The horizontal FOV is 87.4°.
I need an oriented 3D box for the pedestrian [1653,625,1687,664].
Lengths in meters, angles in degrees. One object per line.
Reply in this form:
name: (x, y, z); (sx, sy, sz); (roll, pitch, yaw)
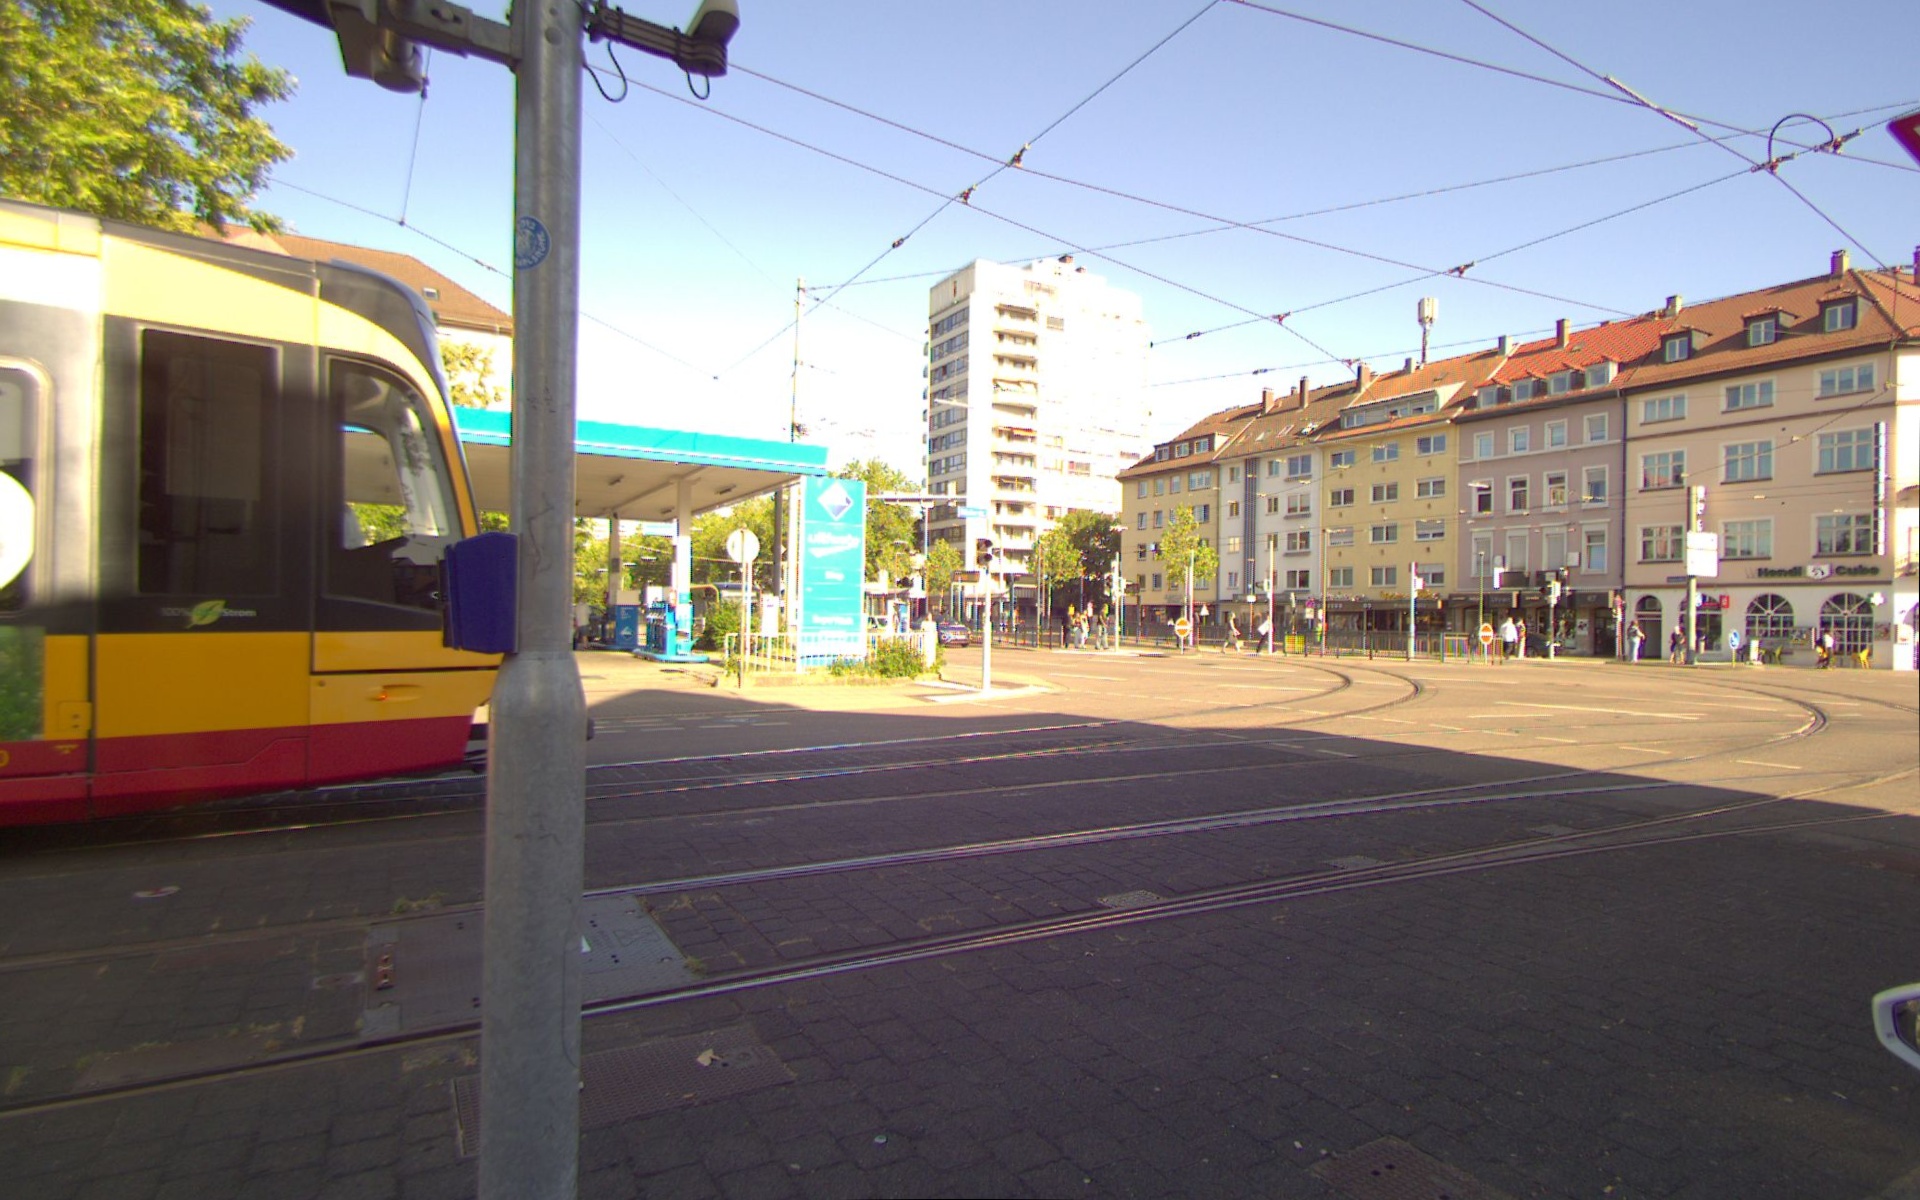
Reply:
pedestrian: (34.073, 2.123, 48.206); (0.926, 1.798, 1.006); (1, -1, -15)

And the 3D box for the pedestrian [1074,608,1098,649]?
pedestrian: (5.590, 1.270, 44.546); (0.673, 1.794, 0.782); (1, -1, -37)

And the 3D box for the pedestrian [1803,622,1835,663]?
pedestrian: (37.426, 1.836, 43.748); (1.034, 1.767, 0.804); (0, -1, 42)

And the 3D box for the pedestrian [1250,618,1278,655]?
pedestrian: (12.501, 1.495, 41.306); (0.912, 1.473, 0.825); (1, -1, 3)

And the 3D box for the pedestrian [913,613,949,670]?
pedestrian: (-0.868, 1.206, 29.708); (0.705, 1.641, 1.101); (1, -1, -21)

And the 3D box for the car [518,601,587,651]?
car: (-13.447, 0.836, 33.014); (1.725, 1.431, 4.061); (5, -2, -26)

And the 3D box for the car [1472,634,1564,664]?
car: (30.430, 2.632, 54.909); (1.977, 1.472, 3.966); (1, -1, -31)

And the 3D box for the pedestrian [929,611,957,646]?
pedestrian: (-0.942, 1.561, 54.903); (1.156, 1.870, 1.098); (2, -1, -28)

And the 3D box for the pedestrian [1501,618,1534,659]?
pedestrian: (24.473, 1.677, 44.102); (0.924, 1.779, 0.934); (1, -1, -30)

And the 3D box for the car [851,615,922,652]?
car: (-3.474, 1.524, 46.736); (1.863, 1.601, 3.971); (1, -1, -28)

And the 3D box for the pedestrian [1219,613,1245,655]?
pedestrian: (11.212, 1.394, 41.489); (0.932, 1.677, 0.828); (1, -1, 9)

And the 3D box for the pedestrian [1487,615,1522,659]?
pedestrian: (22.297, 1.523, 41.146); (0.924, 1.779, 0.934); (1, -1, -30)

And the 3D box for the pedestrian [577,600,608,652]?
pedestrian: (-11.748, 0.828, 32.081); (0.802, 1.647, 1.156); (1, -1, -26)

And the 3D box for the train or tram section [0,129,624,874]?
train or tram section: (-7.125, -0.537, 4.766); (10.074, 3.523, 2.838); (2, 0, -33)

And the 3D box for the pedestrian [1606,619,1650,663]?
pedestrian: (26.649, 1.612, 40.070); (1.091, 1.707, 1.075); (1, -1, -30)

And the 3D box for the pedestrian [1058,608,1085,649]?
pedestrian: (4.903, 1.247, 44.005); (0.868, 1.794, 0.781); (1, -1, -41)

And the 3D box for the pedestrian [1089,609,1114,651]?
pedestrian: (6.030, 1.275, 42.777); (0.778, 1.794, 0.676); (0, -1, 38)

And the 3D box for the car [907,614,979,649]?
car: (-0.851, 1.489, 48.317); (1.863, 1.601, 3.971); (1, -1, -28)
